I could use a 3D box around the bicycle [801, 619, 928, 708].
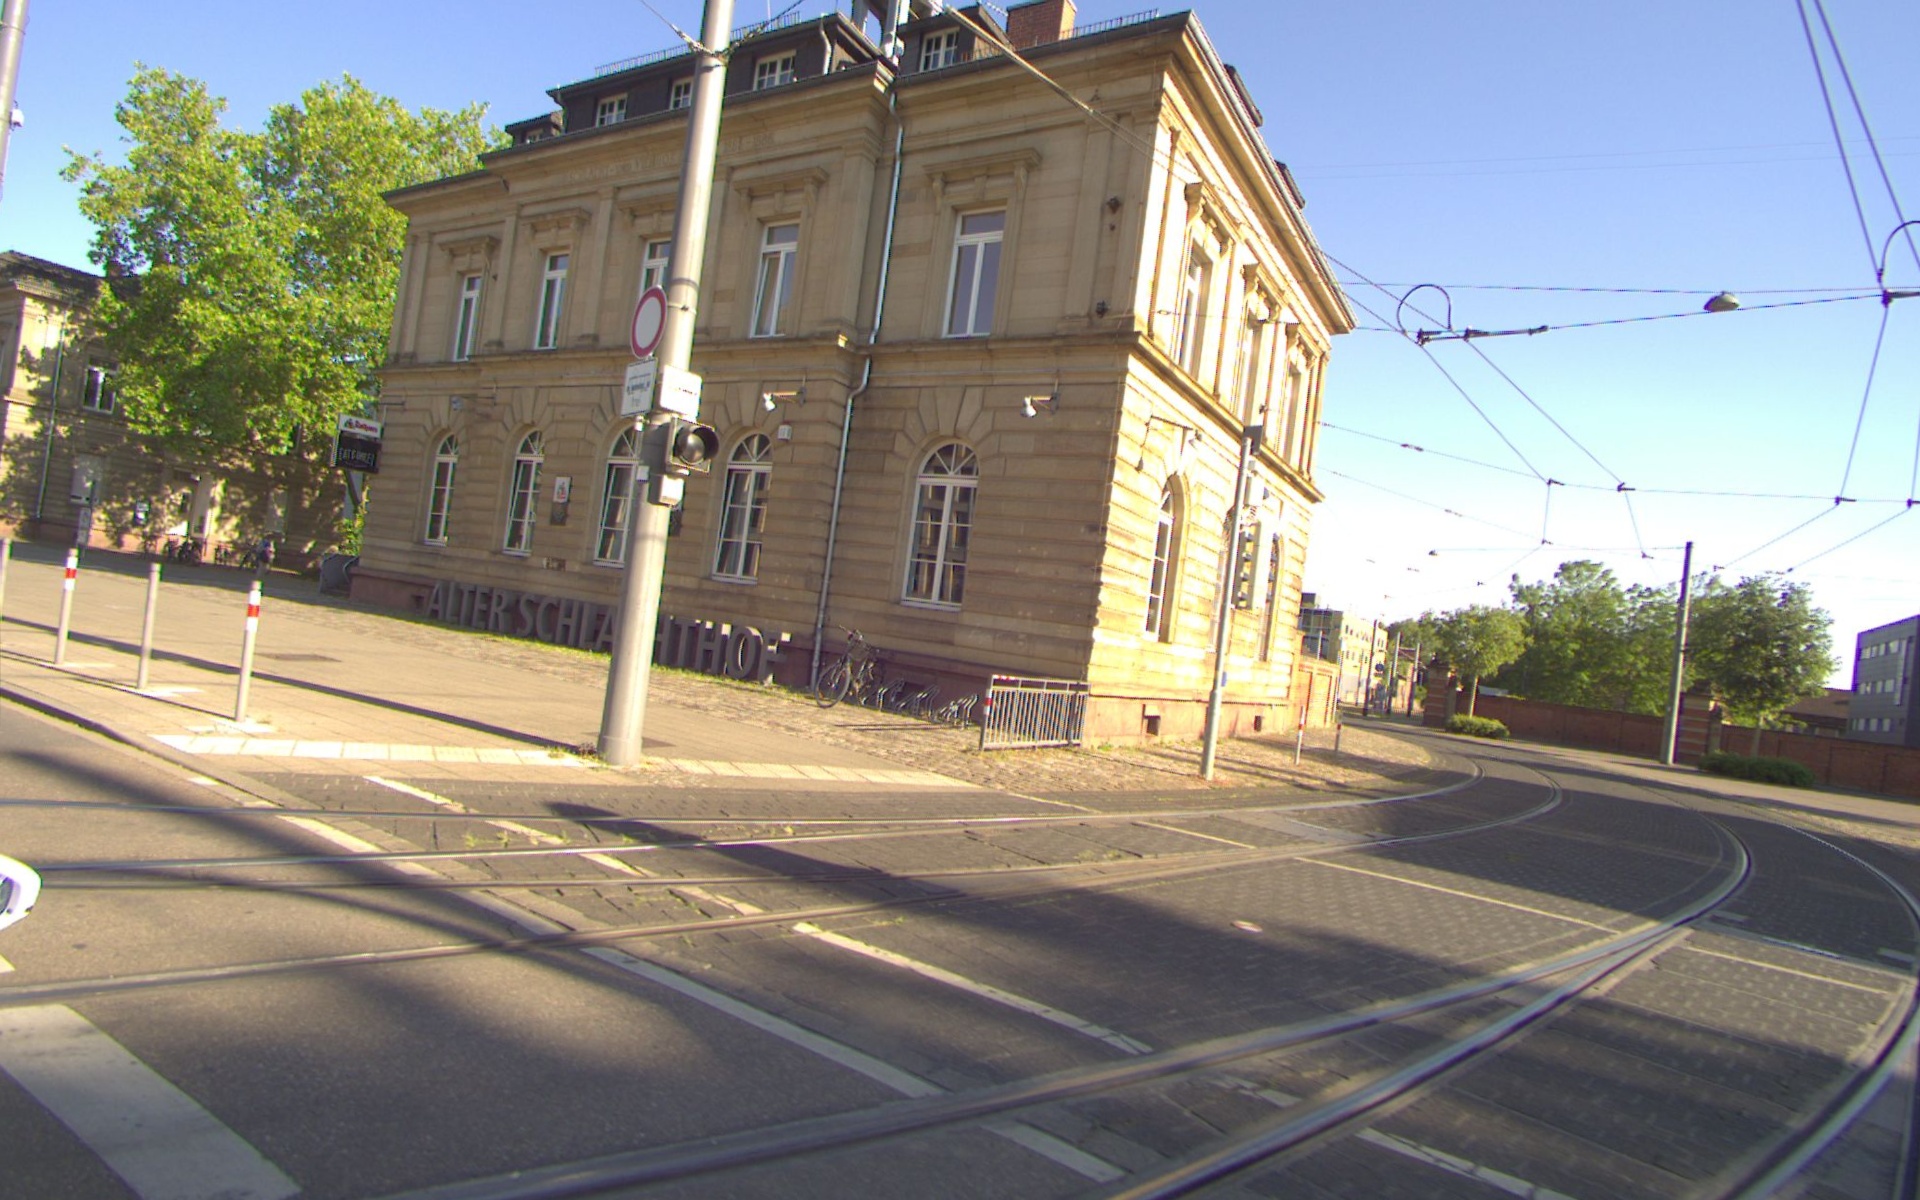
[{"bbox_3d":[-1.440,1.000,15.664,0.752,1.224,2.140,7,0,30],"label":"bicycle"}]

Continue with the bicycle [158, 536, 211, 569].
[{"bbox_3d":[-30.880,-1.892,40.042,2.316,1.059,0.527,7,-1,24],"label":"bicycle"}]

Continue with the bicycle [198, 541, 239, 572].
[{"bbox_3d":[-30.595,-1.818,41.502,2.194,1.059,0.526,7,-1,33],"label":"bicycle"}]

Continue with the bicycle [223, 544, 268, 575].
[{"bbox_3d":[-30.221,-1.702,42.514,2.192,1.059,0.527,7,-1,28],"label":"bicycle"}]

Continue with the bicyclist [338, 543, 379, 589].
[{"bbox_3d":[-24.981,-1.402,41.798,0.811,1.732,0.983,7,-1,19],"label":"bicyclist"}]

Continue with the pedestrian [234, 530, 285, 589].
[{"bbox_3d":[-24.535,-1.409,35.229,0.811,1.887,0.983,7,-1,19],"label":"pedestrian"}]

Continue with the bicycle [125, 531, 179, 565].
[{"bbox_3d":[-31.447,-2.027,39.147,2.316,1.059,0.527,7,-1,24],"label":"bicycle"}]
